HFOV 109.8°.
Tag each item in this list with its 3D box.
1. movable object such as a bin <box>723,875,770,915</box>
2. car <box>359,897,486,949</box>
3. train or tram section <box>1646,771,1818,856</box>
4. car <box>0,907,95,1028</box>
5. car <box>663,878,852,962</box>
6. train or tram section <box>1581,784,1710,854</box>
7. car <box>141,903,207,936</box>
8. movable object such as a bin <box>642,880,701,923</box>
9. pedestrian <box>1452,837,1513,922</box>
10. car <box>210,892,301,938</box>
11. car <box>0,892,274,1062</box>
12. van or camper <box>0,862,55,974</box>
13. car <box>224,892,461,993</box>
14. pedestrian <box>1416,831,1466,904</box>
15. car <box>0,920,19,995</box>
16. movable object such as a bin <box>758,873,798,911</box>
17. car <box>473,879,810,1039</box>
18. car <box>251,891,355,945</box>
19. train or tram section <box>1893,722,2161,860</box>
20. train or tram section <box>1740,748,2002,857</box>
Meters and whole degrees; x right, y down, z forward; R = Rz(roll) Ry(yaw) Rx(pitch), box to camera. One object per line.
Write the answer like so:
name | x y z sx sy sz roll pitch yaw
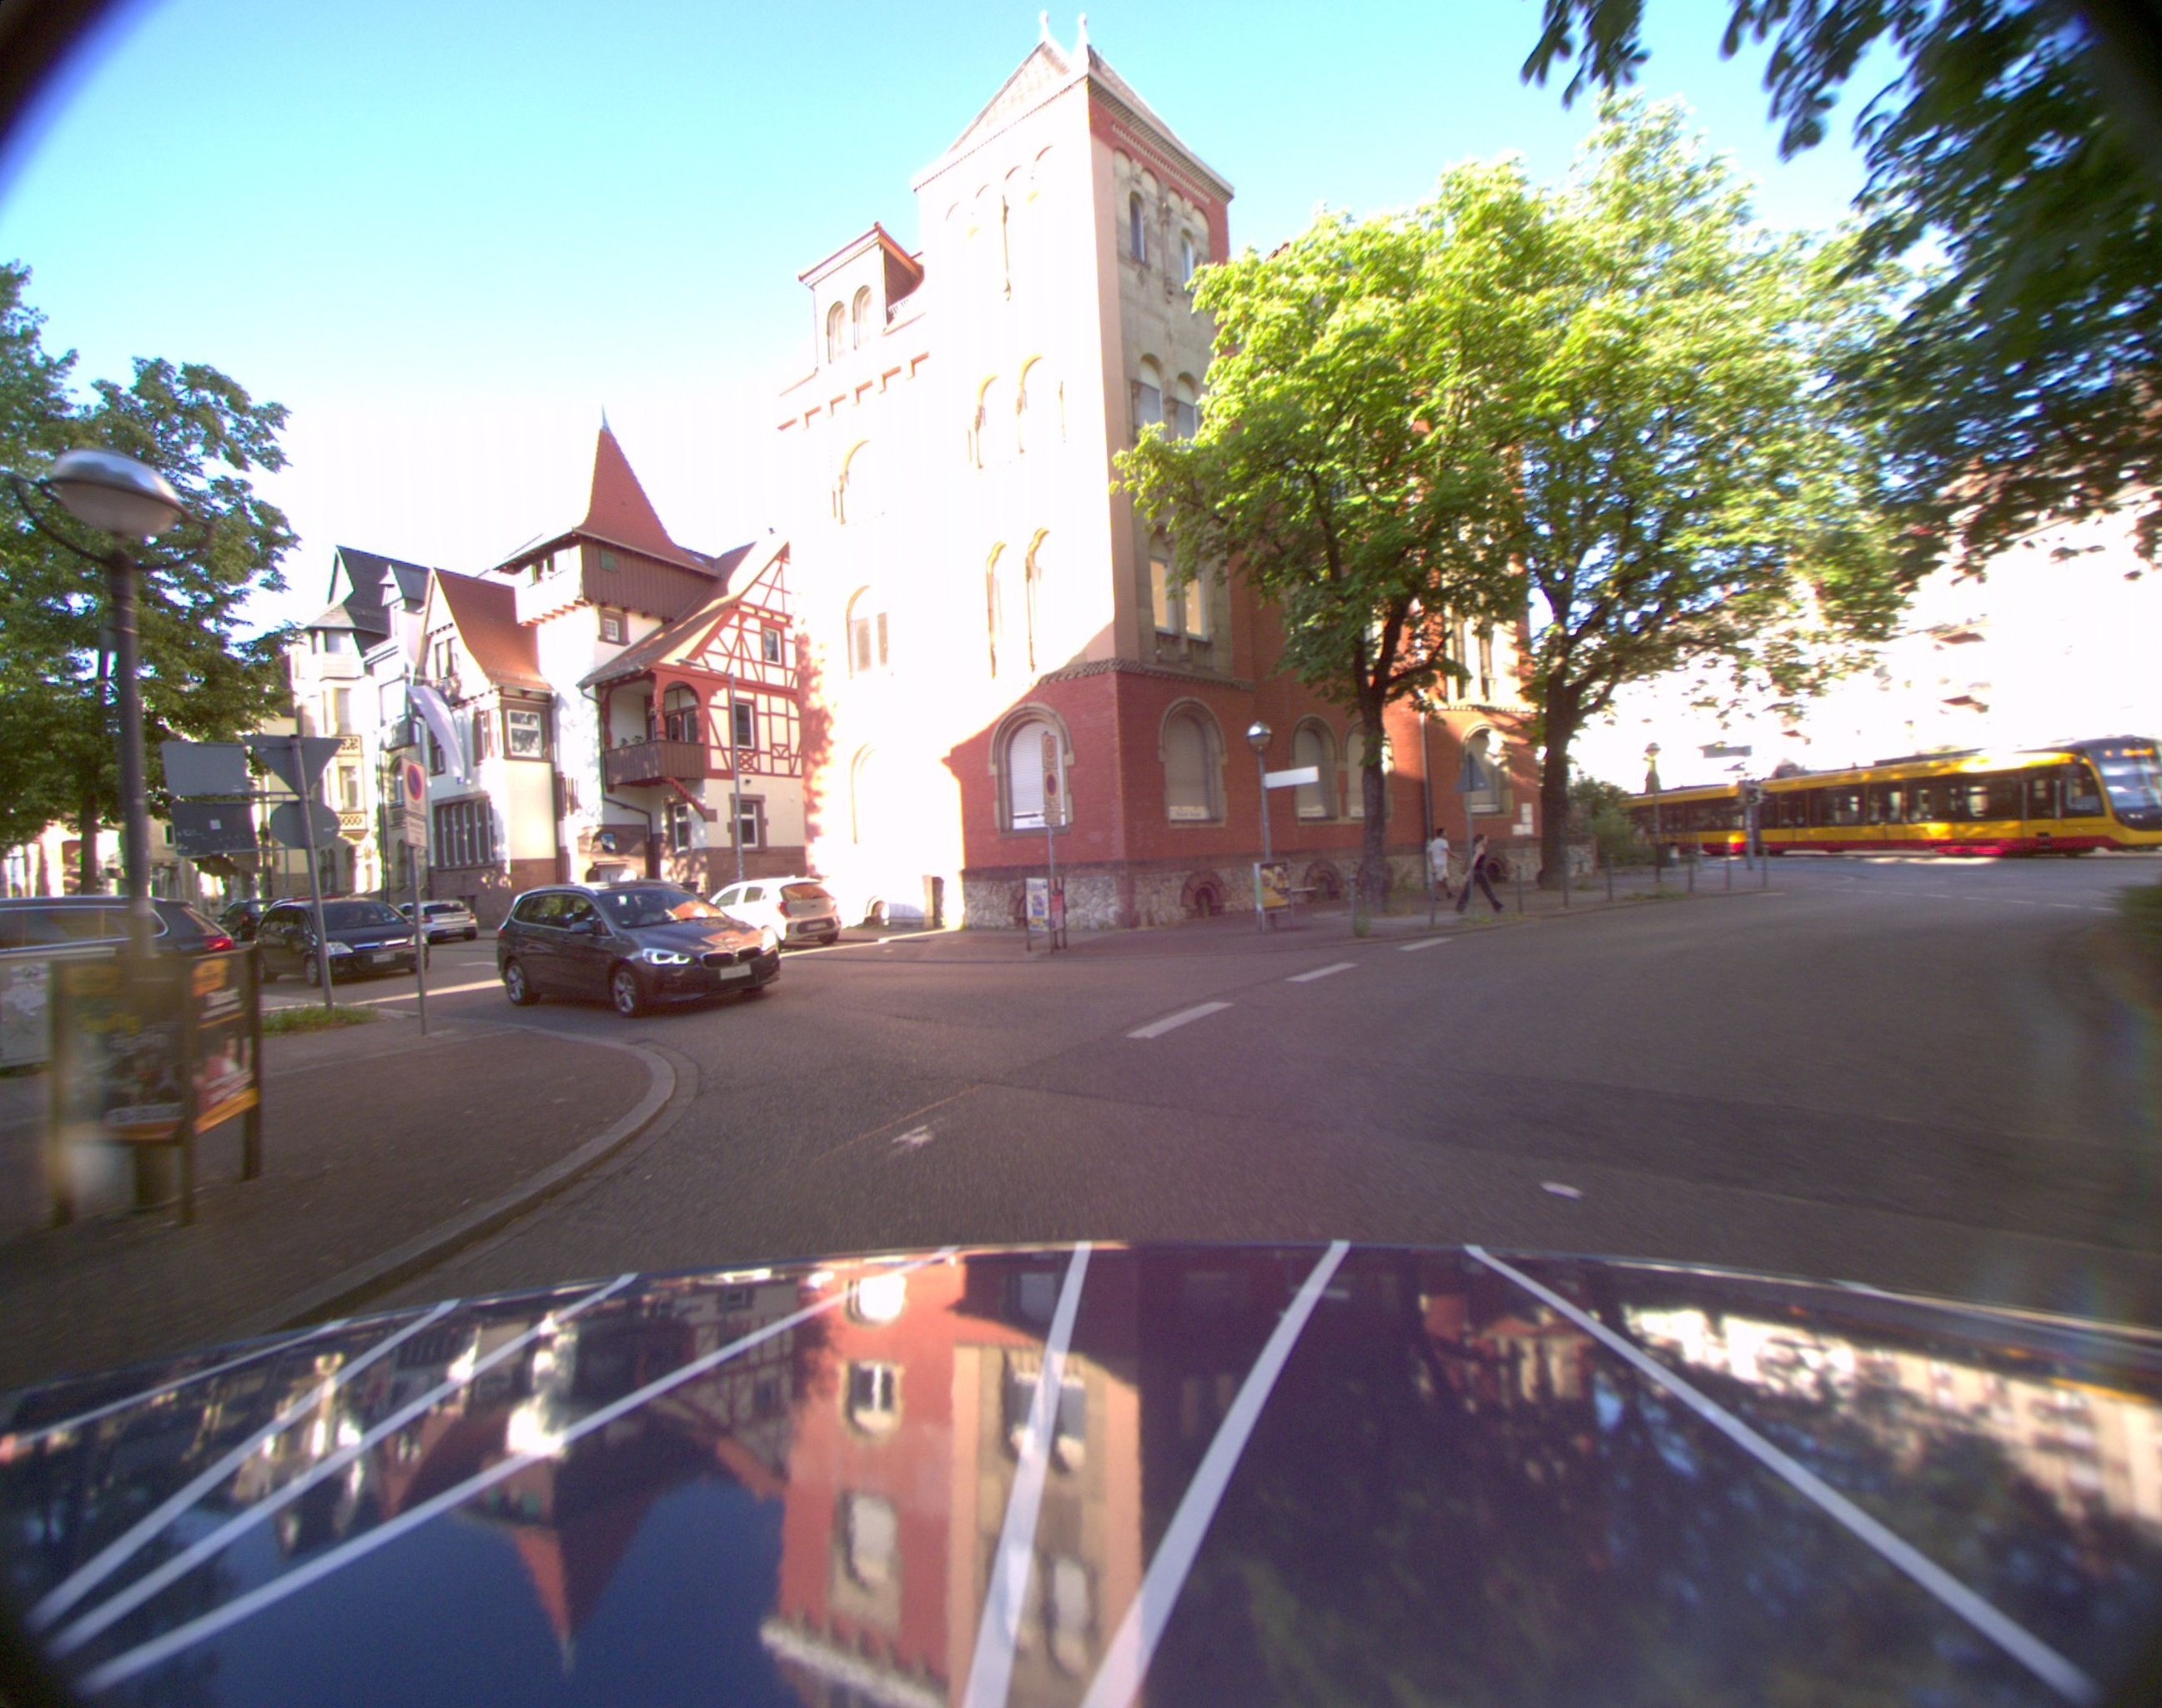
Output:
movable object such as a bin | -12.111 1.480 27.562 0.685 1.310 1.386 -3 1 24
car | -21.767 2.255 25.100 4.093 1.458 1.752 -3 1 28
train or tram section | 31.663 -1.840 37.437 2.930 3.578 7.193 -4 0 9
car | -16.594 1.711 10.337 1.699 1.641 3.712 -3 0 34
car | -6.990 1.375 16.366 3.787 1.477 1.713 -3 2 31
train or tram section | 32.786 -1.952 44.536 2.935 3.570 7.192 -4 1 9
car | -48.574 3.498 40.691 2.854 1.501 1.691 -3 4 31
movable object such as a bin | -13.607 1.576 25.247 0.966 1.291 1.383 -3 1 40
pedestrian | 7.819 0.493 14.825 0.853 1.595 0.602 -3 0 13
car | -37.271 2.745 34.287 4.530 1.841 1.778 -3 1 30
car | -12.349 1.407 8.480 2.019 1.702 4.127 -4 -1 26
van or camper | -32.156 1.895 19.145 2.459 3.059 7.111 -3 0 28
car | -14.807 1.728 15.231 4.252 1.584 2.003 -4 2 27
pedestrian | 8.403 0.311 17.767 0.859 1.633 0.871 -3 1 15
car | -23.383 2.149 14.423 1.673 1.496 3.608 -4 -1 31
movable object such as a bin | -11.411 1.429 28.643 0.629 1.302 1.207 -3 1 32
car | -5.935 1.251 10.114 4.505 1.597 1.929 -3 0 32
car | -31.385 2.563 30.638 4.313 1.896 1.807 -3 2 30
train or tram section | 29.442 -1.736 23.219 2.918 3.619 6.351 -3 0 9
train or tram section | 30.502 -1.783 30.003 2.918 3.593 7.864 -3 0 9
